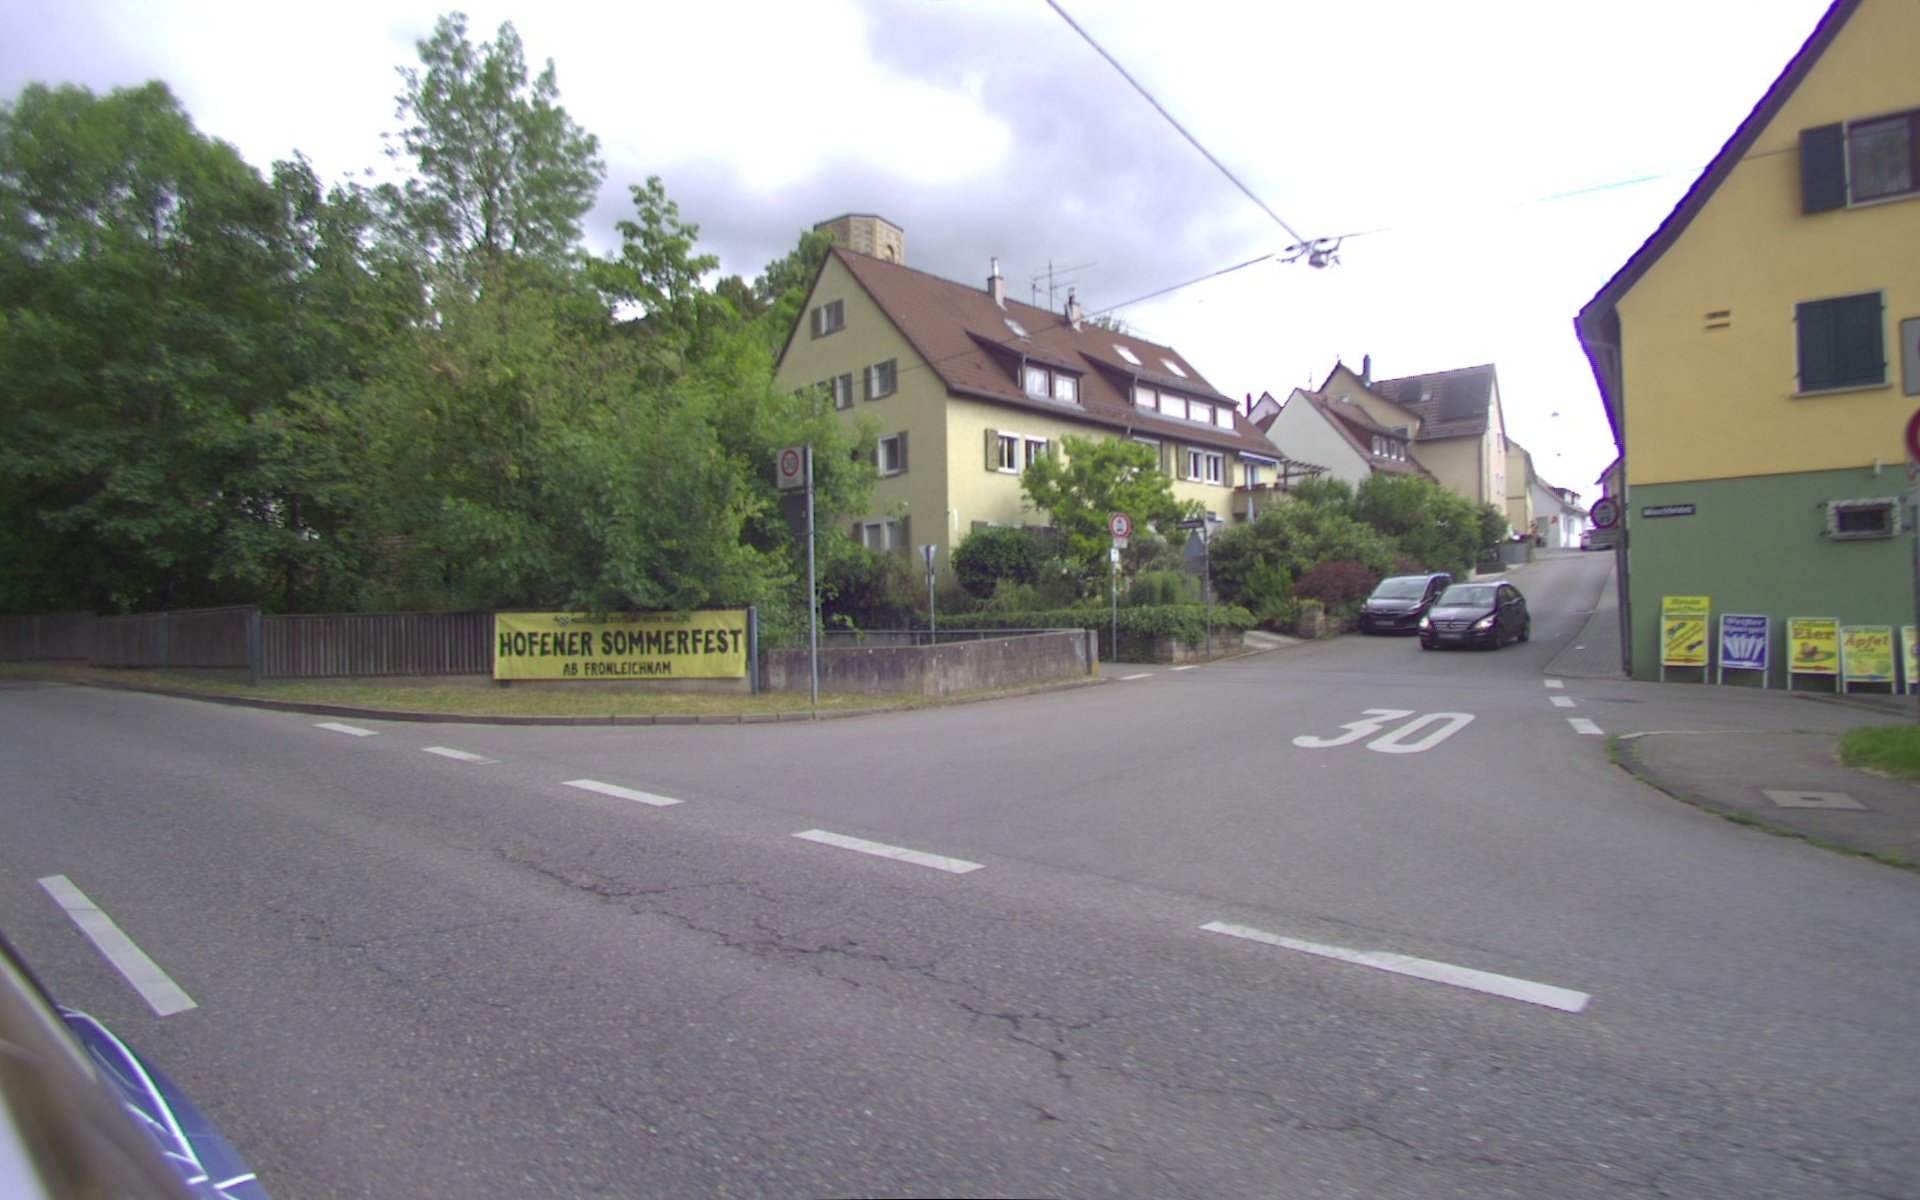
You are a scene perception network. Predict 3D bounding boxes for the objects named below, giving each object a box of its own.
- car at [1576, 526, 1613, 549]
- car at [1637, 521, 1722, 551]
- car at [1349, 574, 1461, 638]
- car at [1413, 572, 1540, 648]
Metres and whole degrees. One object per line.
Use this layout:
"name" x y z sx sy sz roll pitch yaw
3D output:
"car" 42.780 -4.233 68.326 1.993 1.541 3.958 2 4 31
"car" 43.398 -3.852 61.151 3.984 1.603 1.980 -1 1 30
"car" 13.103 0.130 29.703 1.944 1.607 3.947 -1 2 40
"car" 12.937 0.203 25.242 1.944 1.608 3.947 -2 2 40
